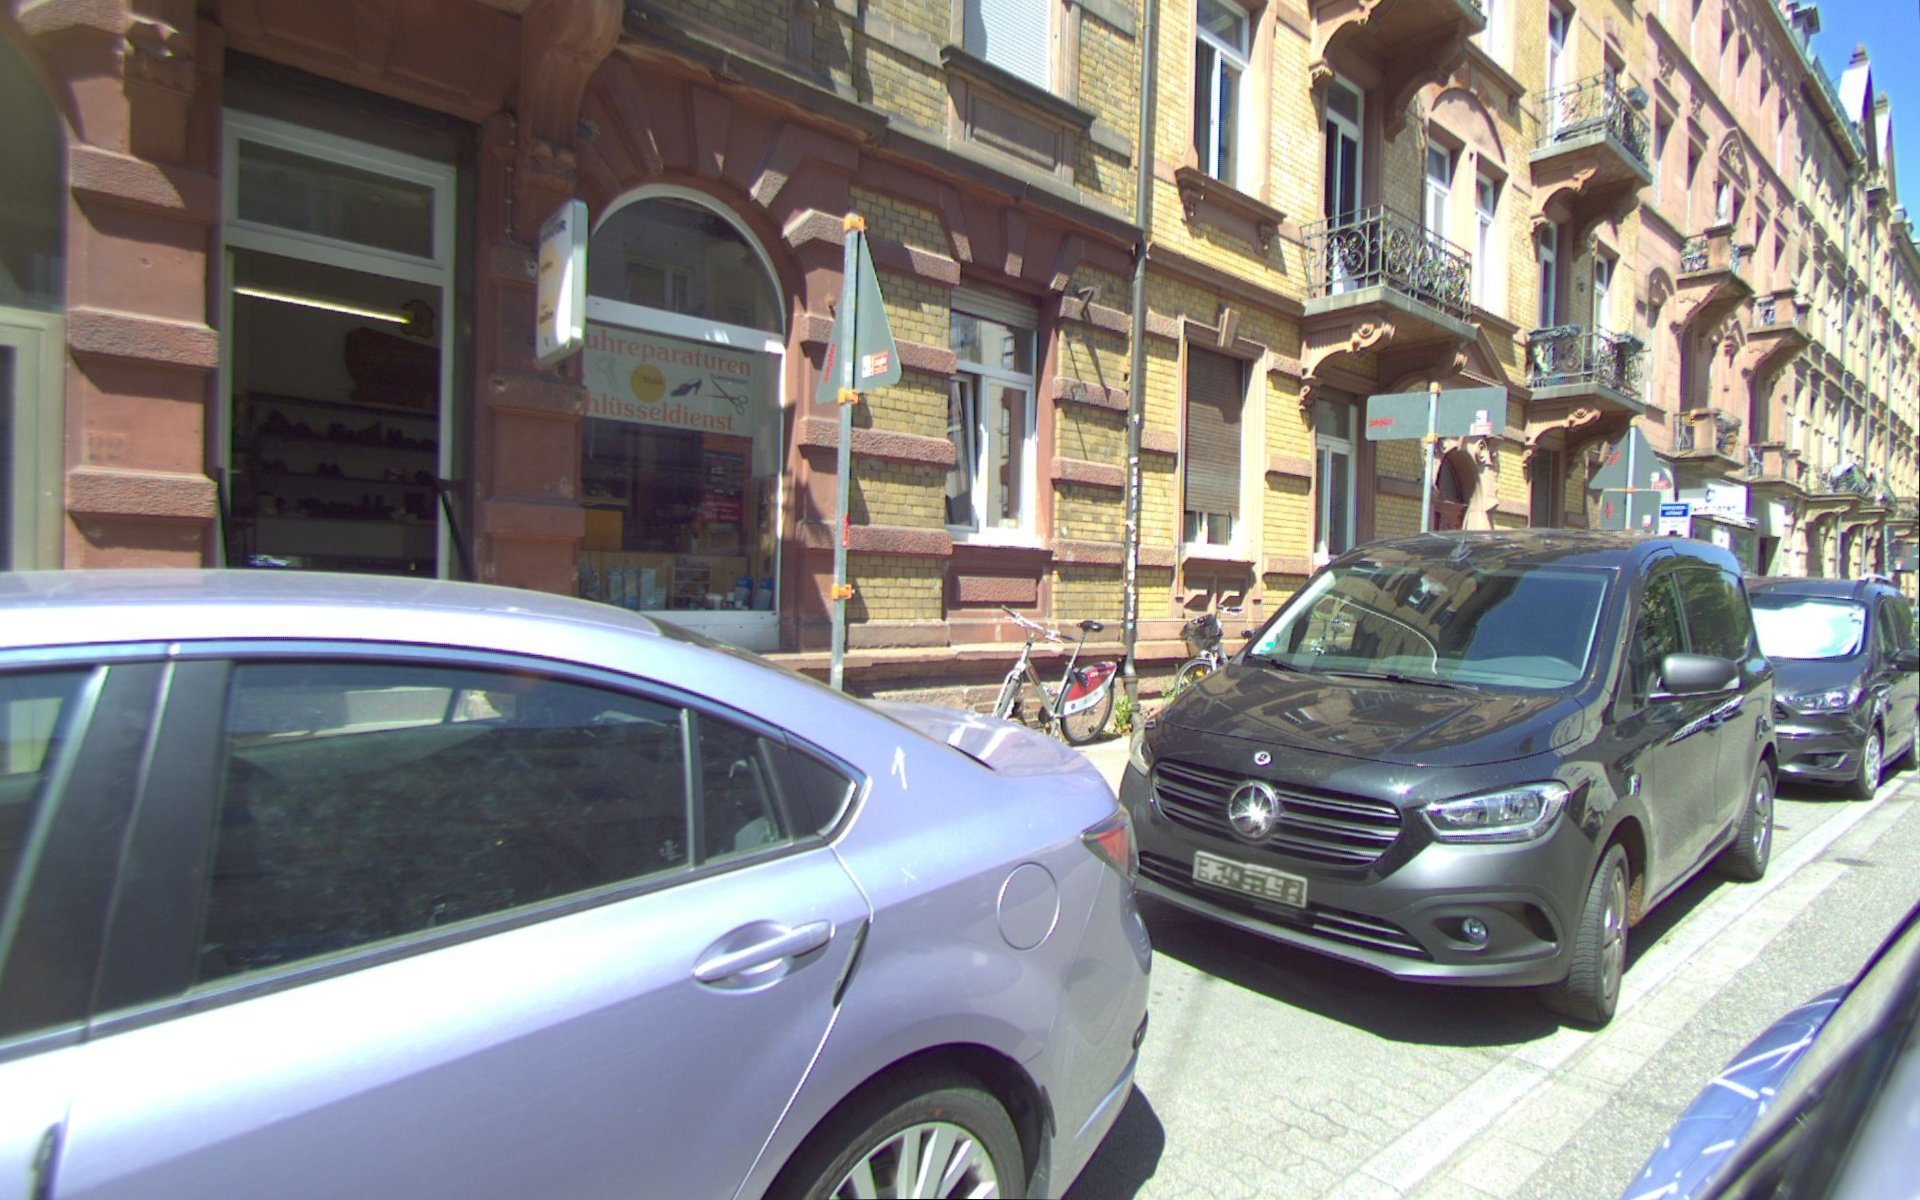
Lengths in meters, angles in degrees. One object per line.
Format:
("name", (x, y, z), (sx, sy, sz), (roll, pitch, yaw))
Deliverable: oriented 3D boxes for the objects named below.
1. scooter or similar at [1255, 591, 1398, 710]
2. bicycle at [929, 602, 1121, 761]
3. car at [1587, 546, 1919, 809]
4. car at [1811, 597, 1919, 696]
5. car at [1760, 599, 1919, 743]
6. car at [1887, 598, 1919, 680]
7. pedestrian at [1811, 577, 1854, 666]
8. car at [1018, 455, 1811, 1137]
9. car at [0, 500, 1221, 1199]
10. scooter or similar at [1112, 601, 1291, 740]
("scooter or similar", (3.970, 0.500, 10.862), (2.075, 1.167, 0.477), (0, 0, -41))
("bicycle", (0.544, 0.578, 7.851), (1.725, 1.117, 0.354), (0, 1, -41))
("car", (7.037, 0.506, 8.708), (3.930, 1.755, 1.705), (0, 0, -41))
("car", (15.736, 0.706, 16.957), (3.933, 1.479, 1.827), (0, 1, -43))
("car", (10.946, 0.739, 12.162), (1.761, 1.468, 3.844), (1, 1, 43))
("car", (18.909, 0.710, 19.280), (3.628, 1.480, 1.600), (0, 1, -44))
("pedestrian", (19.378, 0.470, 22.487), (0.363, 1.938, 0.634), (1, 1, -40))
("car", (2.431, 0.473, 4.766), (4.264, 1.788, 1.827), (0, 2, -43))
("car", (-1.645, 0.593, 1.383), (4.409, 1.450, 1.728), (0, 3, -43))
("scooter or similar", (2.294, 0.601, 9.429), (2.111, 1.167, 0.477), (0, 0, -41))
